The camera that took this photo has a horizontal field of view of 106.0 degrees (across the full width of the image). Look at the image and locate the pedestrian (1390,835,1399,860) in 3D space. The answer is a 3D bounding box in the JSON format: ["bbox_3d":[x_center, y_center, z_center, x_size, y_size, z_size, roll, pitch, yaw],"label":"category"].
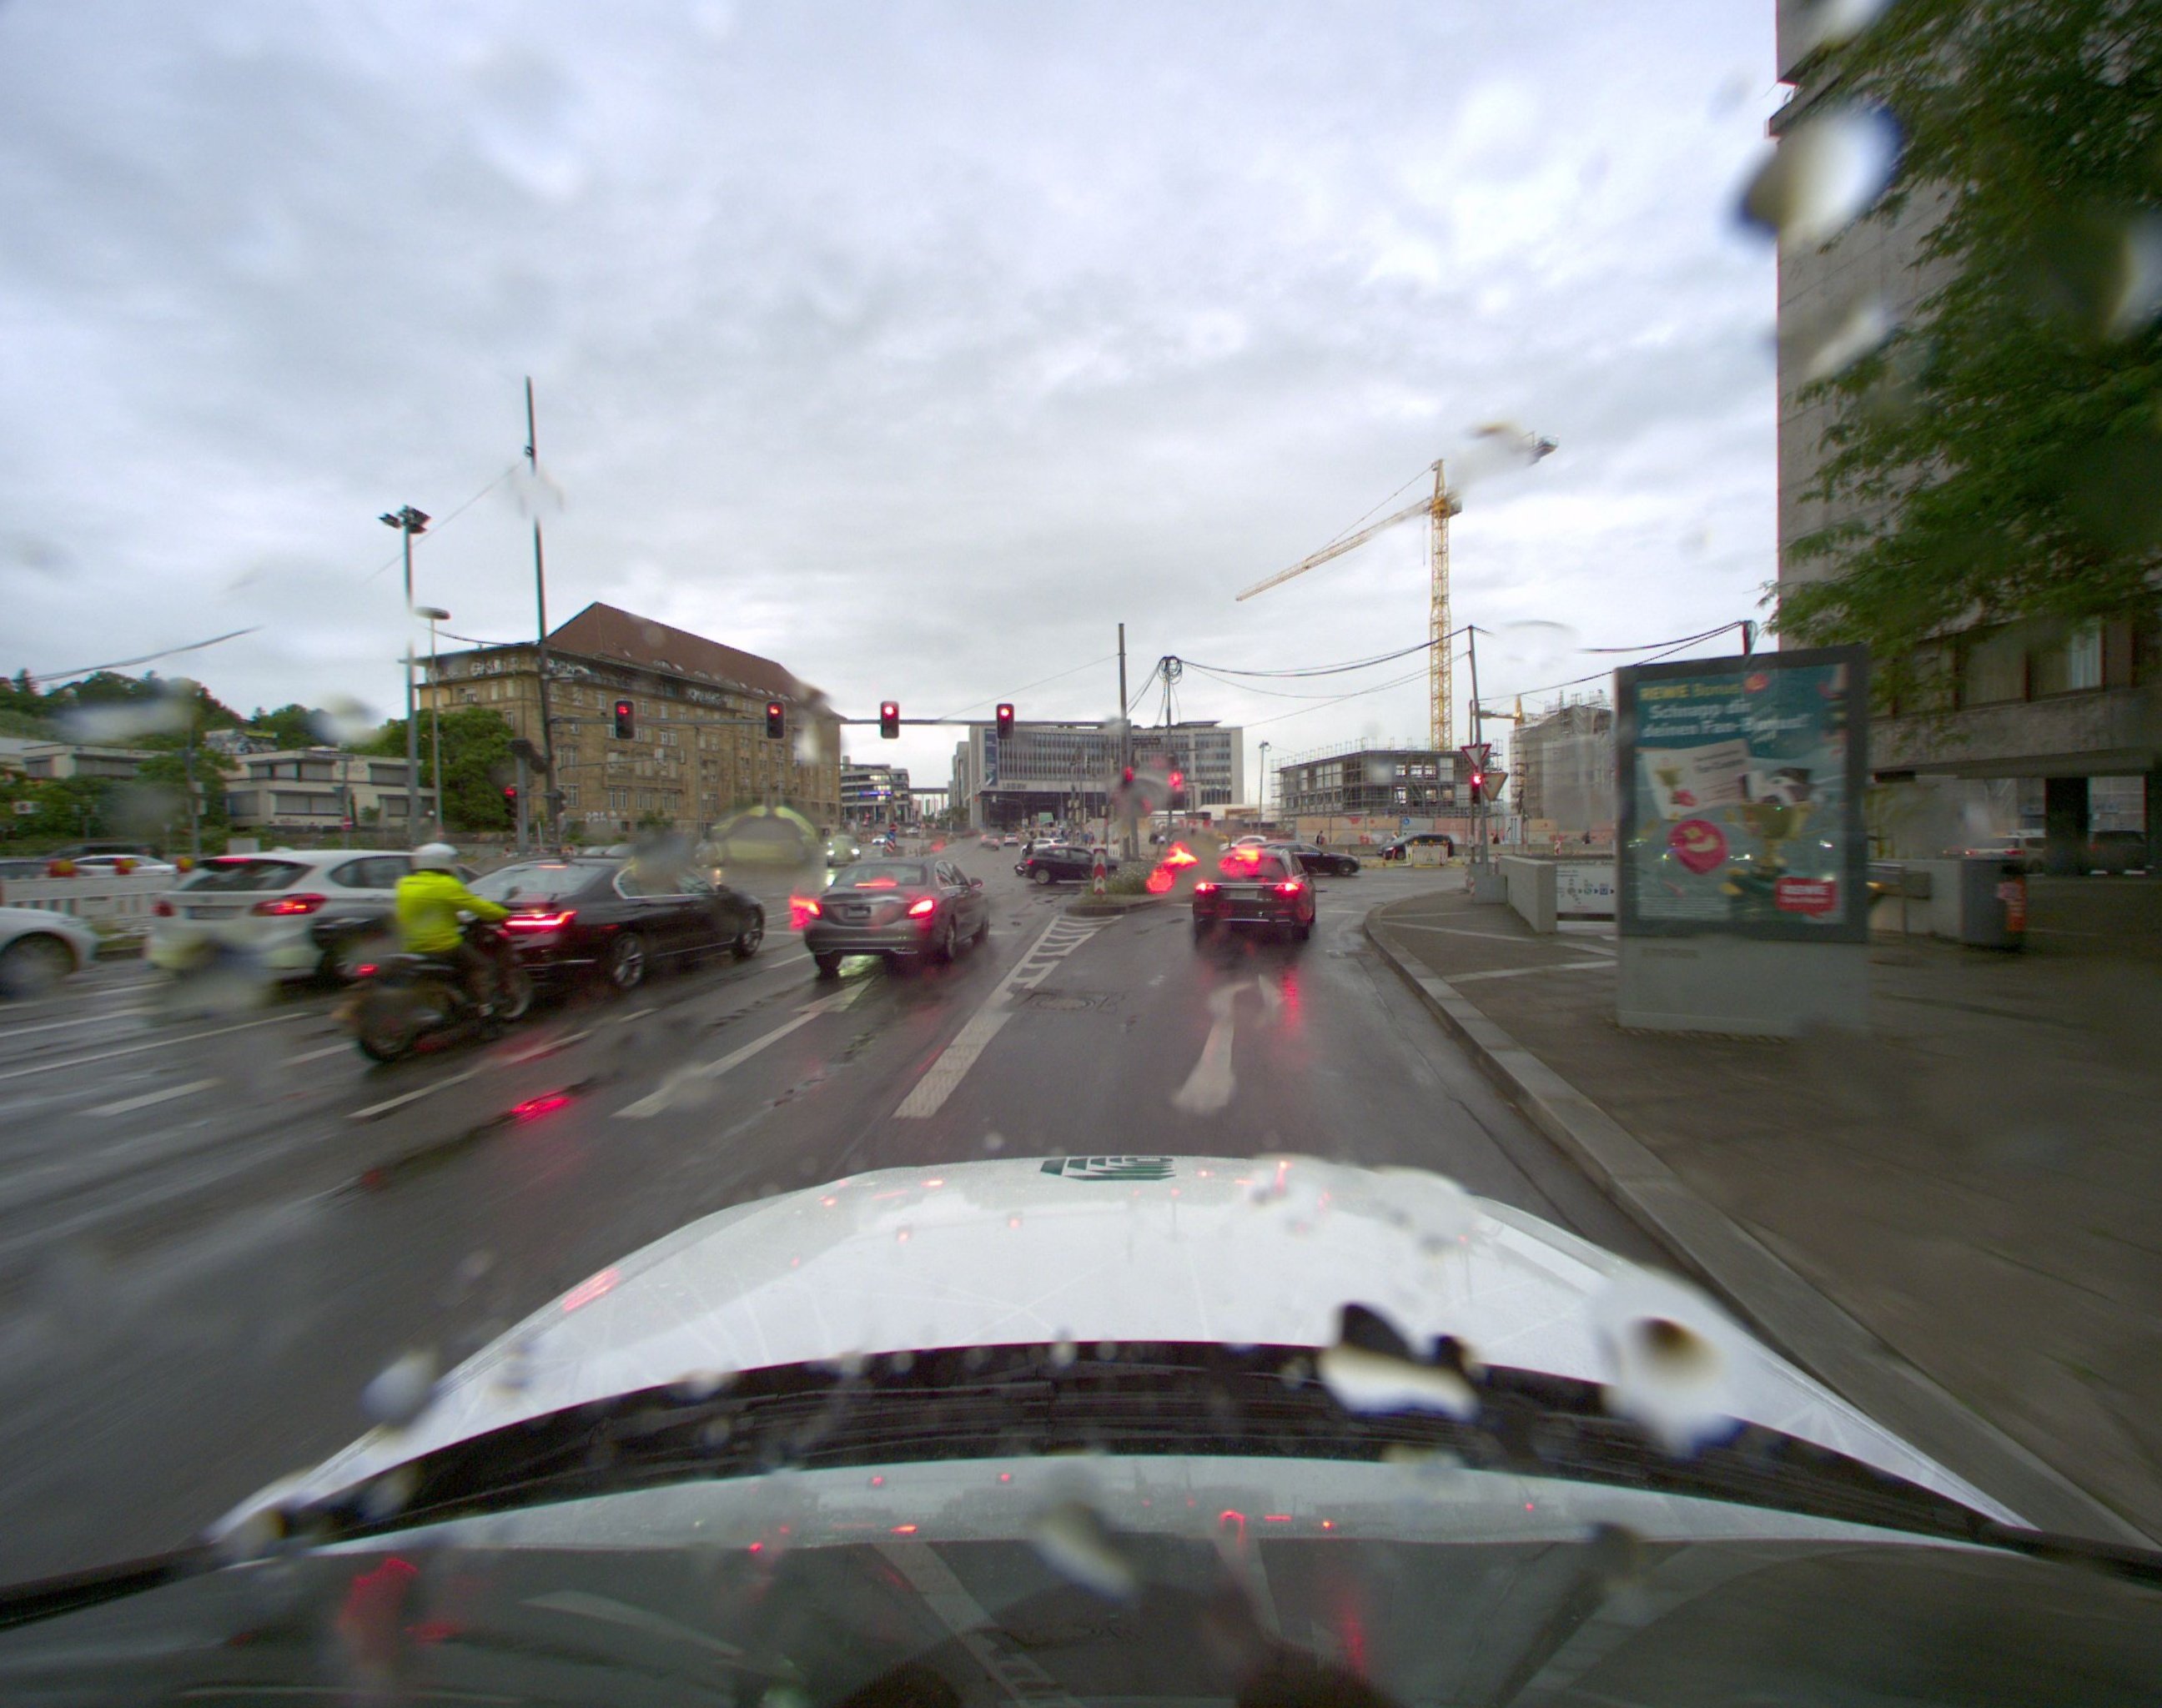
[{"bbox_3d":[24.606,-0.515,63.958,0.573,1.898,0.362,0,-1,-3],"label":"pedestrian"}]

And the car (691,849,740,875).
[{"bbox_3d":[-23.526,0.505,52.535,1.695,1.574,3.991,0,-1,-6],"label":"car"}]

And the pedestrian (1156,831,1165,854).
[{"bbox_3d":[6.532,-0.945,66.925,0.364,1.898,0.570,1,-1,-39],"label":"pedestrian"}]

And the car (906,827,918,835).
[{"bbox_3d":[-41.406,-5.532,199.263,2.003,1.816,3.968,0,-1,-24],"label":"car"}]

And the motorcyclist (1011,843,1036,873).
[{"bbox_3d":[-2.627,0.178,37.291,0.939,1.358,0.852,0,-1,11],"label":"motorcyclist"}]

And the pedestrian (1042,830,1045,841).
[{"bbox_3d":[-6.623,-3.206,143.942,0.361,1.898,0.574,0,-1,-9],"label":"pedestrian"}]

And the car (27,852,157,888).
[{"bbox_3d":[-56.229,0.894,46.420,4.231,2.014,1.984,0,-1,-24],"label":"car"}]

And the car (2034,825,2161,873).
[{"bbox_3d":[37.096,-0.144,29.216,3.985,1.640,1.994,0,-1,-9],"label":"car"}]

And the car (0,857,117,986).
[{"bbox_3d":[-12.472,0.710,7.735,1.776,1.373,3.995,0,0,2],"label":"car"}]

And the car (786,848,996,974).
[{"bbox_3d":[-2.491,0.661,11.888,1.776,1.402,4.491,0,1,3],"label":"car"}]

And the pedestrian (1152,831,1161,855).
[{"bbox_3d":[6.154,-0.906,66.607,0.364,1.898,0.570,-1,0,-37],"label":"pedestrian"}]

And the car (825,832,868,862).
[{"bbox_3d":[-14.801,-0.389,51.693,1.993,1.798,5.086,0,-1,-9],"label":"car"}]

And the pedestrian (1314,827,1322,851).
[{"bbox_3d":[18.455,-1.155,63.374,0.572,1.898,0.362,0,-1,3],"label":"pedestrian"}]

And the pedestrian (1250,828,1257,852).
[{"bbox_3d":[13.832,-1.149,65.323,0.572,1.898,0.362,0,-1,3],"label":"pedestrian"}]

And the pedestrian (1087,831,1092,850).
[{"bbox_3d":[0.859,-1.379,81.326,0.362,1.898,0.573,0,-1,-18],"label":"pedestrian"}]

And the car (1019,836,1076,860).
[{"bbox_3d":[-2.639,-0.459,62.603,2.011,1.766,4.365,1,-1,-43],"label":"car"}]

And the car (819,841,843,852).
[{"bbox_3d":[-29.443,-0.850,96.070,1.764,1.260,4.188,0,0,-4],"label":"car"}]

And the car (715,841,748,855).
[{"bbox_3d":[-31.446,-0.519,73.348,1.621,1.260,3.991,0,0,-6],"label":"car"}]

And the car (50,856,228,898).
[{"bbox_3d":[-39.114,0.910,33.973,4.397,1.662,1.986,0,-1,-21],"label":"car"}]

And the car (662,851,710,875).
[{"bbox_3d":[-26.534,0.599,54.836,1.695,1.519,3.549,-2,0,-4],"label":"car"}]

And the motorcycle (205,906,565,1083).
[{"bbox_3d":[-5.237,0.983,6.434,0.939,0.989,2.292,0,0,-3],"label":"motorcycle"}]

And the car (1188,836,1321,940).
[{"bbox_3d":[3.185,0.523,14.337,1.876,1.544,4.011,0,-1,18],"label":"car"}]

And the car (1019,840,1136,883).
[{"bbox_3d":[-0.079,0.285,30.875,4.072,1.507,2.006,-1,-1,11],"label":"car"}]

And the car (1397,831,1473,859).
[{"bbox_3d":[22.215,-0.537,51.151,3.984,1.734,1.995,0,-1,-8],"label":"car"}]

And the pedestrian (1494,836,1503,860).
[{"bbox_3d":[33.013,-0.485,64.382,0.573,1.898,0.362,0,-1,-5],"label":"pedestrian"}]

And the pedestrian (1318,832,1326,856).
[{"bbox_3d":[19.400,-0.782,65.521,0.572,1.898,0.362,0,-1,3],"label":"pedestrian"}]

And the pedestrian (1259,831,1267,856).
[{"bbox_3d":[14.338,-0.819,64.083,0.572,1.898,0.362,0,-1,0],"label":"pedestrian"}]

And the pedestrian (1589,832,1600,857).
[{"bbox_3d":[39.976,-0.727,63.397,0.573,1.898,0.362,0,-1,-3],"label":"pedestrian"}]

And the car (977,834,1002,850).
[{"bbox_3d":[-9.831,-1.239,87.066,1.998,1.640,3.978,0,-1,-16],"label":"car"}]

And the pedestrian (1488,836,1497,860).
[{"bbox_3d":[32.974,-0.478,65.257,0.573,1.898,0.362,0,-1,-5],"label":"pedestrian"}]

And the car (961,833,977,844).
[{"bbox_3d":[-23.371,-3.194,169.493,2.005,2.014,3.964,0,-1,-28],"label":"car"}]

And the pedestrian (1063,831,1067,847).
[{"bbox_3d":[-1.960,-1.824,100.540,0.361,1.898,0.574,0,-1,-9],"label":"pedestrian"}]

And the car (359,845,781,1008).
[{"bbox_3d":[-5.699,0.691,10.107,1.879,1.515,5.005,0,0,2],"label":"car"}]

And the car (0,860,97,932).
[{"bbox_3d":[-23.866,0.941,17.138,1.695,1.519,3.868,-2,0,-4],"label":"car"}]

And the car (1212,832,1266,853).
[{"bbox_3d":[10.879,-0.783,56.379,3.530,1.473,1.789,0,-1,5],"label":"car"}]

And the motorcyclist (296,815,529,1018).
[{"bbox_3d":[-5.240,0.459,6.489,0.939,1.475,1.099,0,-1,-3],"label":"motorcyclist"}]

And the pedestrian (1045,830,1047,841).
[{"bbox_3d":[-6.220,-3.208,144.015,0.361,1.898,0.574,0,-1,-9],"label":"pedestrian"}]

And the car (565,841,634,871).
[{"bbox_3d":[-25.784,0.116,43.768,1.695,1.574,3.991,0,-1,-6],"label":"car"}]

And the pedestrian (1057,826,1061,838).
[{"bbox_3d":[-3.522,-3.584,131.328,0.519,1.898,0.574,0,-1,-9],"label":"pedestrian"}]

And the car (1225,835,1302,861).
[{"bbox_3d":[9.449,-0.294,42.198,3.534,1.304,1.660,0,-1,-11],"label":"car"}]

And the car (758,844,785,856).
[{"bbox_3d":[-31.727,-0.394,83.588,1.735,1.260,3.323,0,-1,-6],"label":"car"}]

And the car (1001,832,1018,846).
[{"bbox_3d":[-9.271,-1.970,105.534,1.730,1.639,3.419,0,3,-14],"label":"car"}]

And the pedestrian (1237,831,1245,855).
[{"bbox_3d":[12.856,-0.863,65.508,0.569,1.898,0.364,0,-1,22],"label":"pedestrian"}]

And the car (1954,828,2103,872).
[{"bbox_3d":[36.774,-0.125,31.654,3.985,1.640,1.994,0,-1,-9],"label":"car"}]

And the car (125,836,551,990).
[{"bbox_3d":[-9.144,0.637,10.585,1.726,1.616,4.002,0,-1,2],"label":"car"}]

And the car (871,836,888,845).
[{"bbox_3d":[-29.489,-1.929,119.517,1.764,1.260,3.994,0,0,-4],"label":"car"}]

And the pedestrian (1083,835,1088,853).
[{"bbox_3d":[0.471,-1.090,89.512,0.361,1.898,0.574,0,-1,-13],"label":"pedestrian"}]

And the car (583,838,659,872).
[{"bbox_3d":[-22.633,0.063,40.227,1.799,1.574,4.065,0,-1,-6],"label":"car"}]

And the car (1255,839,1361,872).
[{"bbox_3d":[9.514,0.069,34.423,4.077,1.345,2.004,0,-1,7],"label":"car"}]

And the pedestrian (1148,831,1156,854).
[{"bbox_3d":[5.777,-0.951,66.404,0.364,1.898,0.570,1,-1,-39],"label":"pedestrian"}]

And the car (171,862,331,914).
[{"bbox_3d":[-27.096,1.054,26.772,1.696,1.519,3.679,-2,0,-7],"label":"car"}]

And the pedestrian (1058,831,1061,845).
[{"bbox_3d":[-3.010,-2.270,114.276,0.361,1.898,0.574,0,-1,-9],"label":"pedestrian"}]

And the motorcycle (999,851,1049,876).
[{"bbox_3d":[-2.582,0.437,37.307,2.122,1.108,0.854,0,-1,11],"label":"motorcycle"}]

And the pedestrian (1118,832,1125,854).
[{"bbox_3d":[3.436,-0.938,68.873,0.364,1.898,0.570,1,-1,-39],"label":"pedestrian"}]
